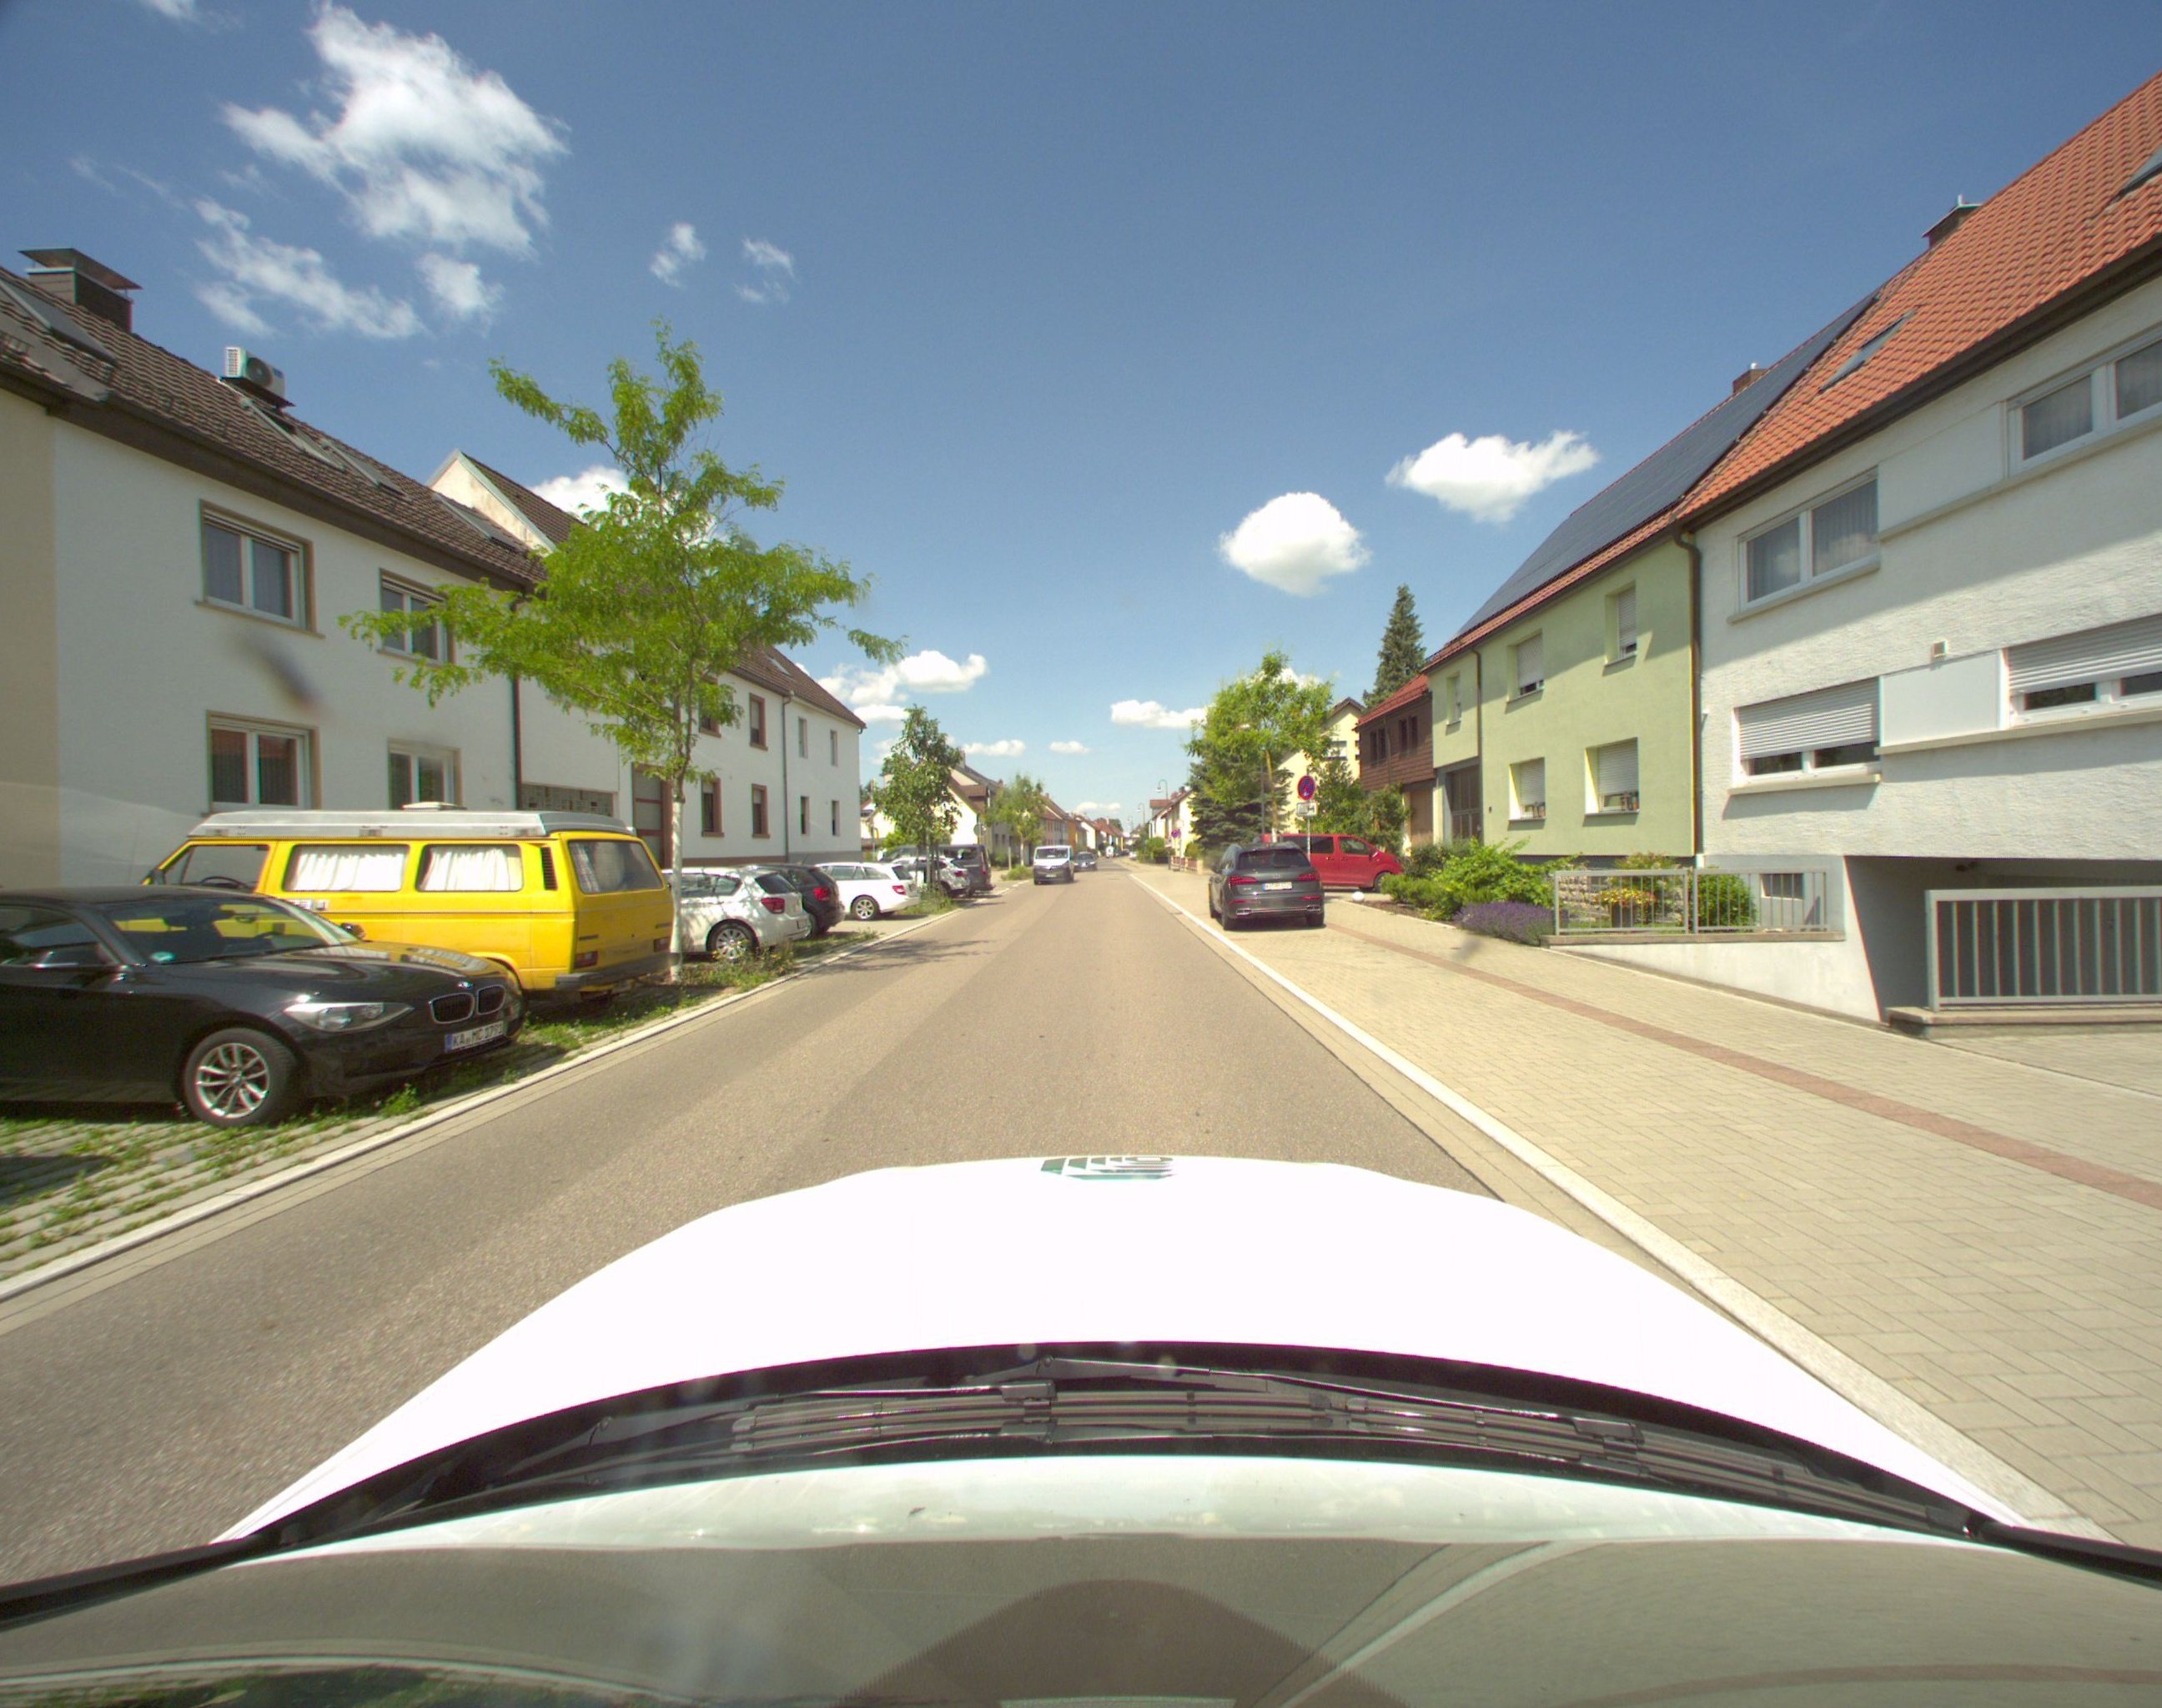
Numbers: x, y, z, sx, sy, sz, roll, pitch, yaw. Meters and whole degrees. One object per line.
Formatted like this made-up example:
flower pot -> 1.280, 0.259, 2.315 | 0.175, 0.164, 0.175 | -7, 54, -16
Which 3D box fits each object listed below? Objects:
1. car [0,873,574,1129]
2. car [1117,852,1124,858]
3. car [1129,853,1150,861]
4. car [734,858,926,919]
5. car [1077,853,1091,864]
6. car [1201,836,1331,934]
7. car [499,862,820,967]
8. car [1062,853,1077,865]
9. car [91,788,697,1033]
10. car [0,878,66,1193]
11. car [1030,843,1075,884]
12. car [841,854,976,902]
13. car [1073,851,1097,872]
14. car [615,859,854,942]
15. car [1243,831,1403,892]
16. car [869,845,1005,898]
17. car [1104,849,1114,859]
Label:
car -> -6.087, 0.890, 5.679 | 3.995, 1.459, 1.756 | 0, 0, 1
car -> 10.737, 0.299, 223.519 | 1.683, 1.660, 3.777 | 0, -1, 5
car -> 9.986, 0.534, 139.946 | 3.510, 1.464, 1.629 | 0, -1, 2
car -> -6.299, 0.851, 20.739 | 4.277, 1.468, 1.775 | 0, -1, 3
car -> 0.538, 0.659, 124.280 | 1.841, 1.659, 4.005 | 1, 0, 4
car -> 3.630, 0.533, 16.745 | 1.856, 1.635, 4.451 | -3, 0, 4
car -> -6.366, 0.874, 12.728 | 4.068, 1.468, 1.749 | 0, 0, -7
car -> -1.567, 0.645, 111.162 | 1.804, 1.609, 4.002 | 1, 0, 2
car -> -6.599, 0.509, 8.236 | 4.492, 2.177, 1.926 | 0, 0, 1
car -> -6.915, 0.857, 3.103 | 3.781, 1.459, 1.754 | 0, 0, -2
car -> -1.420, 0.488, 42.376 | 2.016, 1.950, 4.898 | -2, -1, 1
car -> -5.767, 0.796, 27.603 | 4.172, 1.569, 1.772 | 0, -1, -3
car -> 0.345, 0.605, 66.214 | 1.757, 1.523, 4.049 | -3, 0, 1
car -> -6.487, 0.836, 15.608 | 3.875, 1.468, 1.655 | 0, -1, -7
car -> 7.718, 0.235, 26.293 | 4.604, 1.893, 2.020 | 0, -1, 0
car -> -5.290, 0.640, 30.393 | 4.683, 1.923, 1.938 | 0, -1, 1
car -> 6.743, 0.108, 194.027 | 2.035, 2.312, 3.777 | 0, -1, 5
